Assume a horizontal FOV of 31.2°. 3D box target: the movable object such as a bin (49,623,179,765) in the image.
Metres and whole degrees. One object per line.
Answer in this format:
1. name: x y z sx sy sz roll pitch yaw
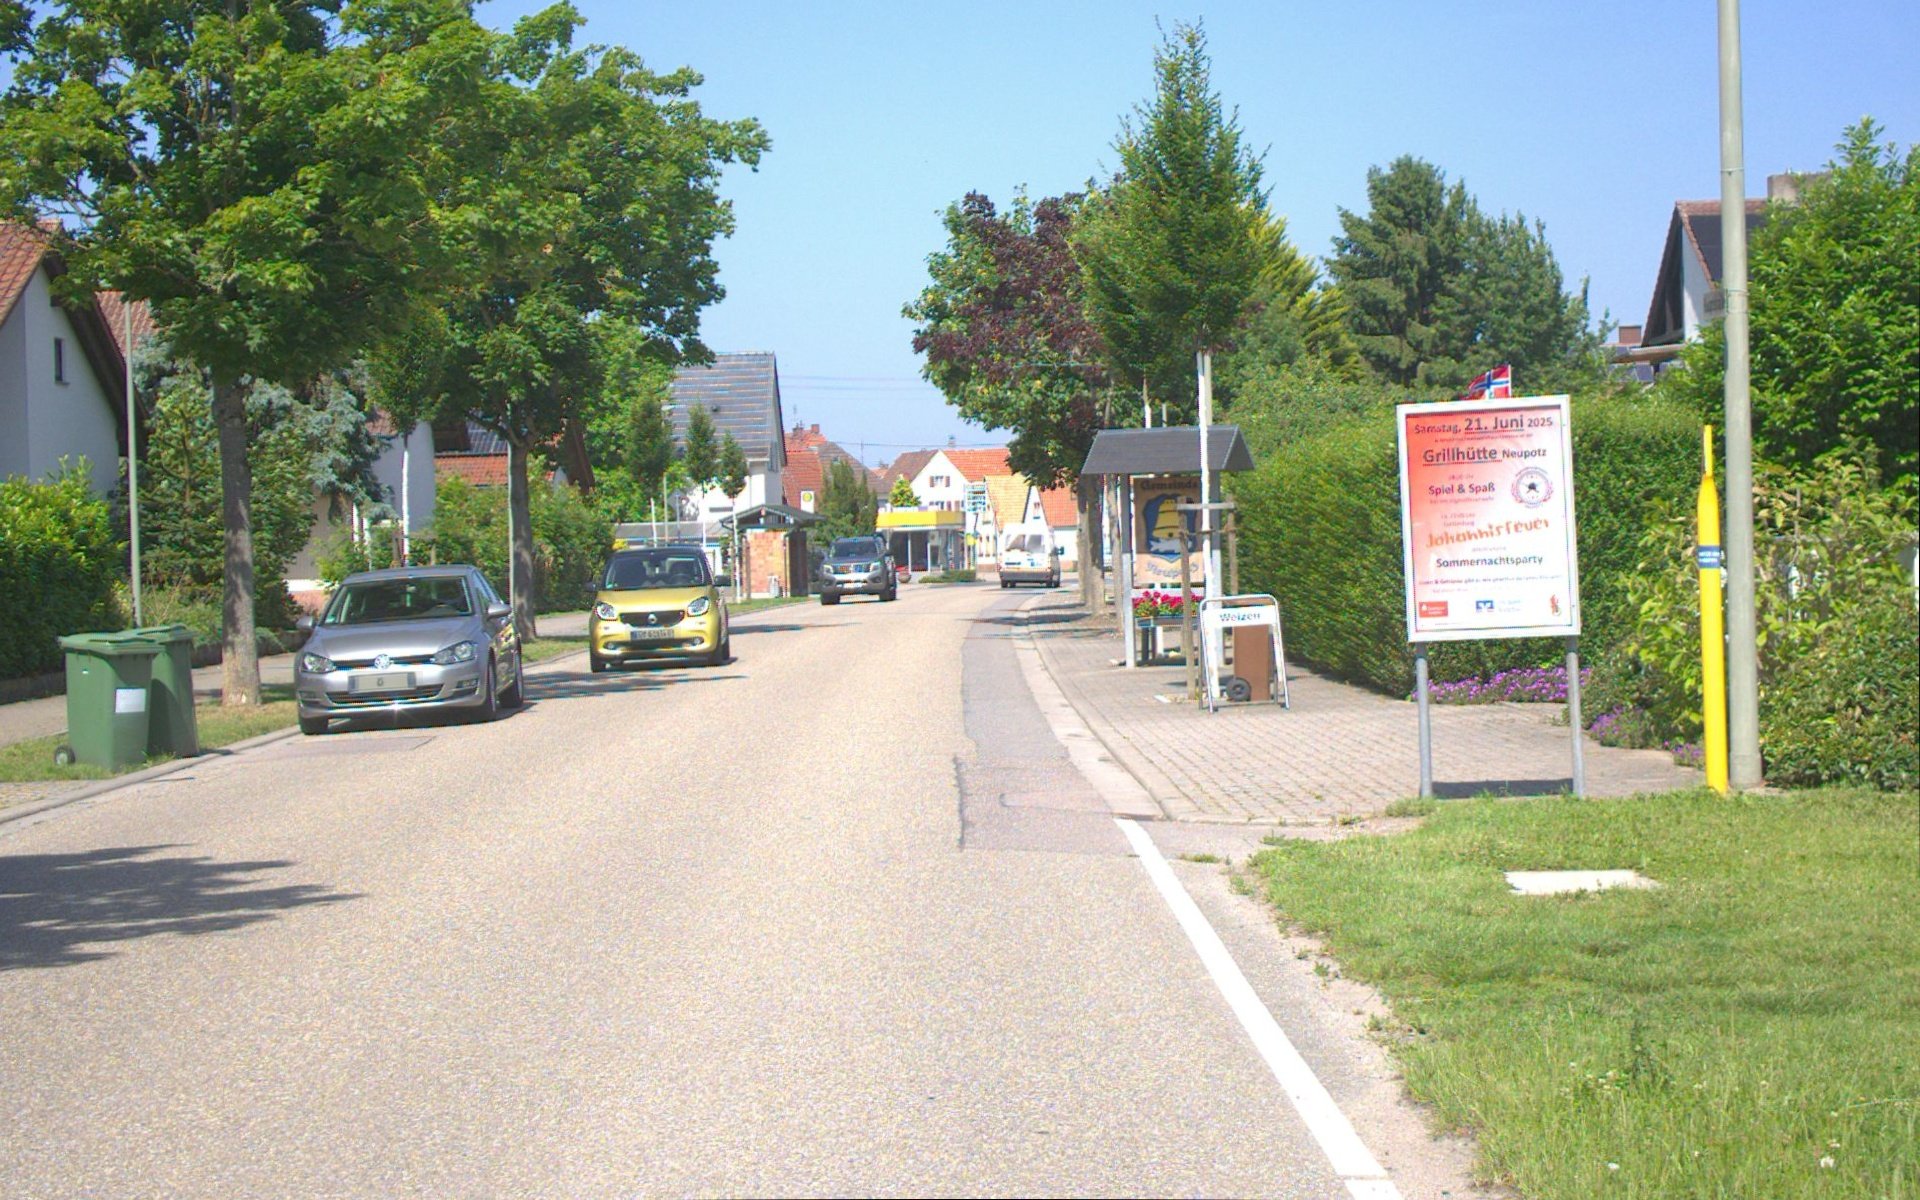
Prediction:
1. movable object such as a bin: -6.614 0.731 26.895 0.714 1.075 0.639 -1 1 25

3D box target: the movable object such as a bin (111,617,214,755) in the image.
1. movable object such as a bin: -6.409 0.688 27.642 0.575 1.075 0.598 -1 1 13

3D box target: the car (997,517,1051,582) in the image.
1. car: 2.493 -1.967 133.374 1.738 2.424 4.374 -2 1 5

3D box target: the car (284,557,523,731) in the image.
1. car: -5.154 0.363 32.298 1.647 1.419 4.081 -4 1 -2

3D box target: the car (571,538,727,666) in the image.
1. car: -4.005 -0.002 44.650 1.666 1.519 3.442 -3 1 0

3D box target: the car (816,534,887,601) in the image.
1. car: -2.970 -0.904 93.525 1.835 1.747 3.796 -2 1 -2
